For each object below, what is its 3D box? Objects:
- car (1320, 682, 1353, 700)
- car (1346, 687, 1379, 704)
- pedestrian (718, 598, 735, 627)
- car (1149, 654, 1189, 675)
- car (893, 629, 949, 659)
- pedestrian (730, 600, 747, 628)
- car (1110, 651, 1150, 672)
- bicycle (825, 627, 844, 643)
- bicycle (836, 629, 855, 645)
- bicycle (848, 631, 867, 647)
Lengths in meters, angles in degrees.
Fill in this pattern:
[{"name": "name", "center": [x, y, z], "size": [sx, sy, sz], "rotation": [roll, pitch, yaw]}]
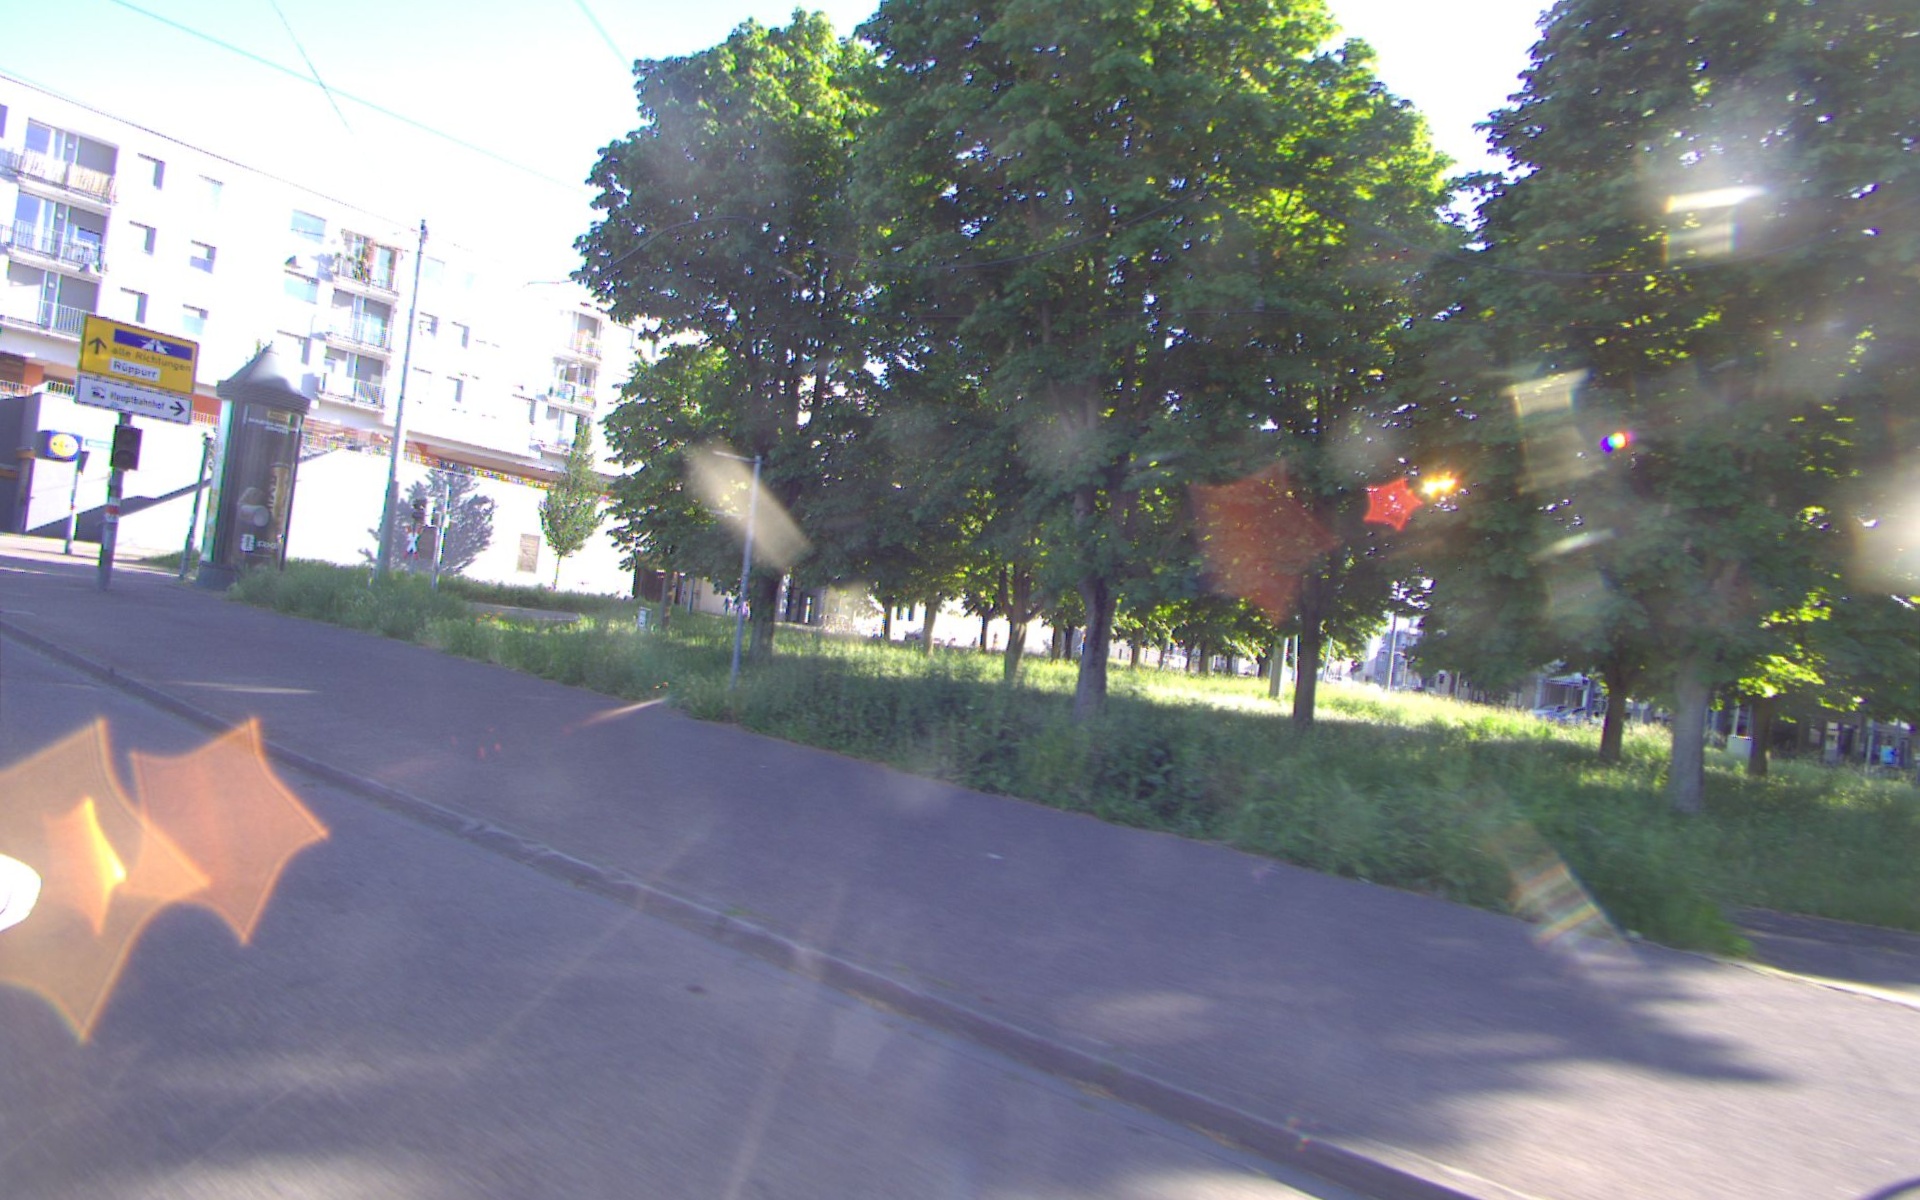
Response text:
[{"name": "car", "center": [47.586, 11.479, 127.141], "size": [3.968, 1.657, 1.982], "rotation": [11, -5, -35]}, {"name": "car", "center": [52.160, 12.350, 130.346], "size": [3.968, 1.657, 1.982], "rotation": [11, -5, -35]}, {"name": "pedestrian", "center": [-14.588, 0.753, 62.868], "size": [0.658, 1.720, 0.594], "rotation": [10, -4, -38]}, {"name": "car", "center": [22.684, 7.010, 109.205], "size": [3.967, 1.657, 1.983], "rotation": [11, -5, -35]}, {"name": "car", "center": [-2.926, 3.350, 75.919], "size": [1.971, 1.657, 3.991], "rotation": [5, -5, 39]}, {"name": "pedestrian", "center": [-13.968, 0.882, 63.437], "size": [0.658, 1.720, 0.594], "rotation": [10, -4, -38]}, {"name": "car", "center": [17.790, 6.453, 105.383], "size": [3.978, 1.657, 1.977], "rotation": [11, -5, -42]}, {"name": "bicycle", "center": [-8.809, 2.459, 70.686], "size": [0.480, 0.980, 1.436], "rotation": [10, -5, -43]}, {"name": "bicycle", "center": [-8.160, 2.639, 71.869], "size": [0.480, 0.980, 1.436], "rotation": [10, -5, -43]}, {"name": "bicycle", "center": [-7.402, 2.807, 72.707], "size": [0.480, 0.980, 1.436], "rotation": [10, -5, -43]}]
